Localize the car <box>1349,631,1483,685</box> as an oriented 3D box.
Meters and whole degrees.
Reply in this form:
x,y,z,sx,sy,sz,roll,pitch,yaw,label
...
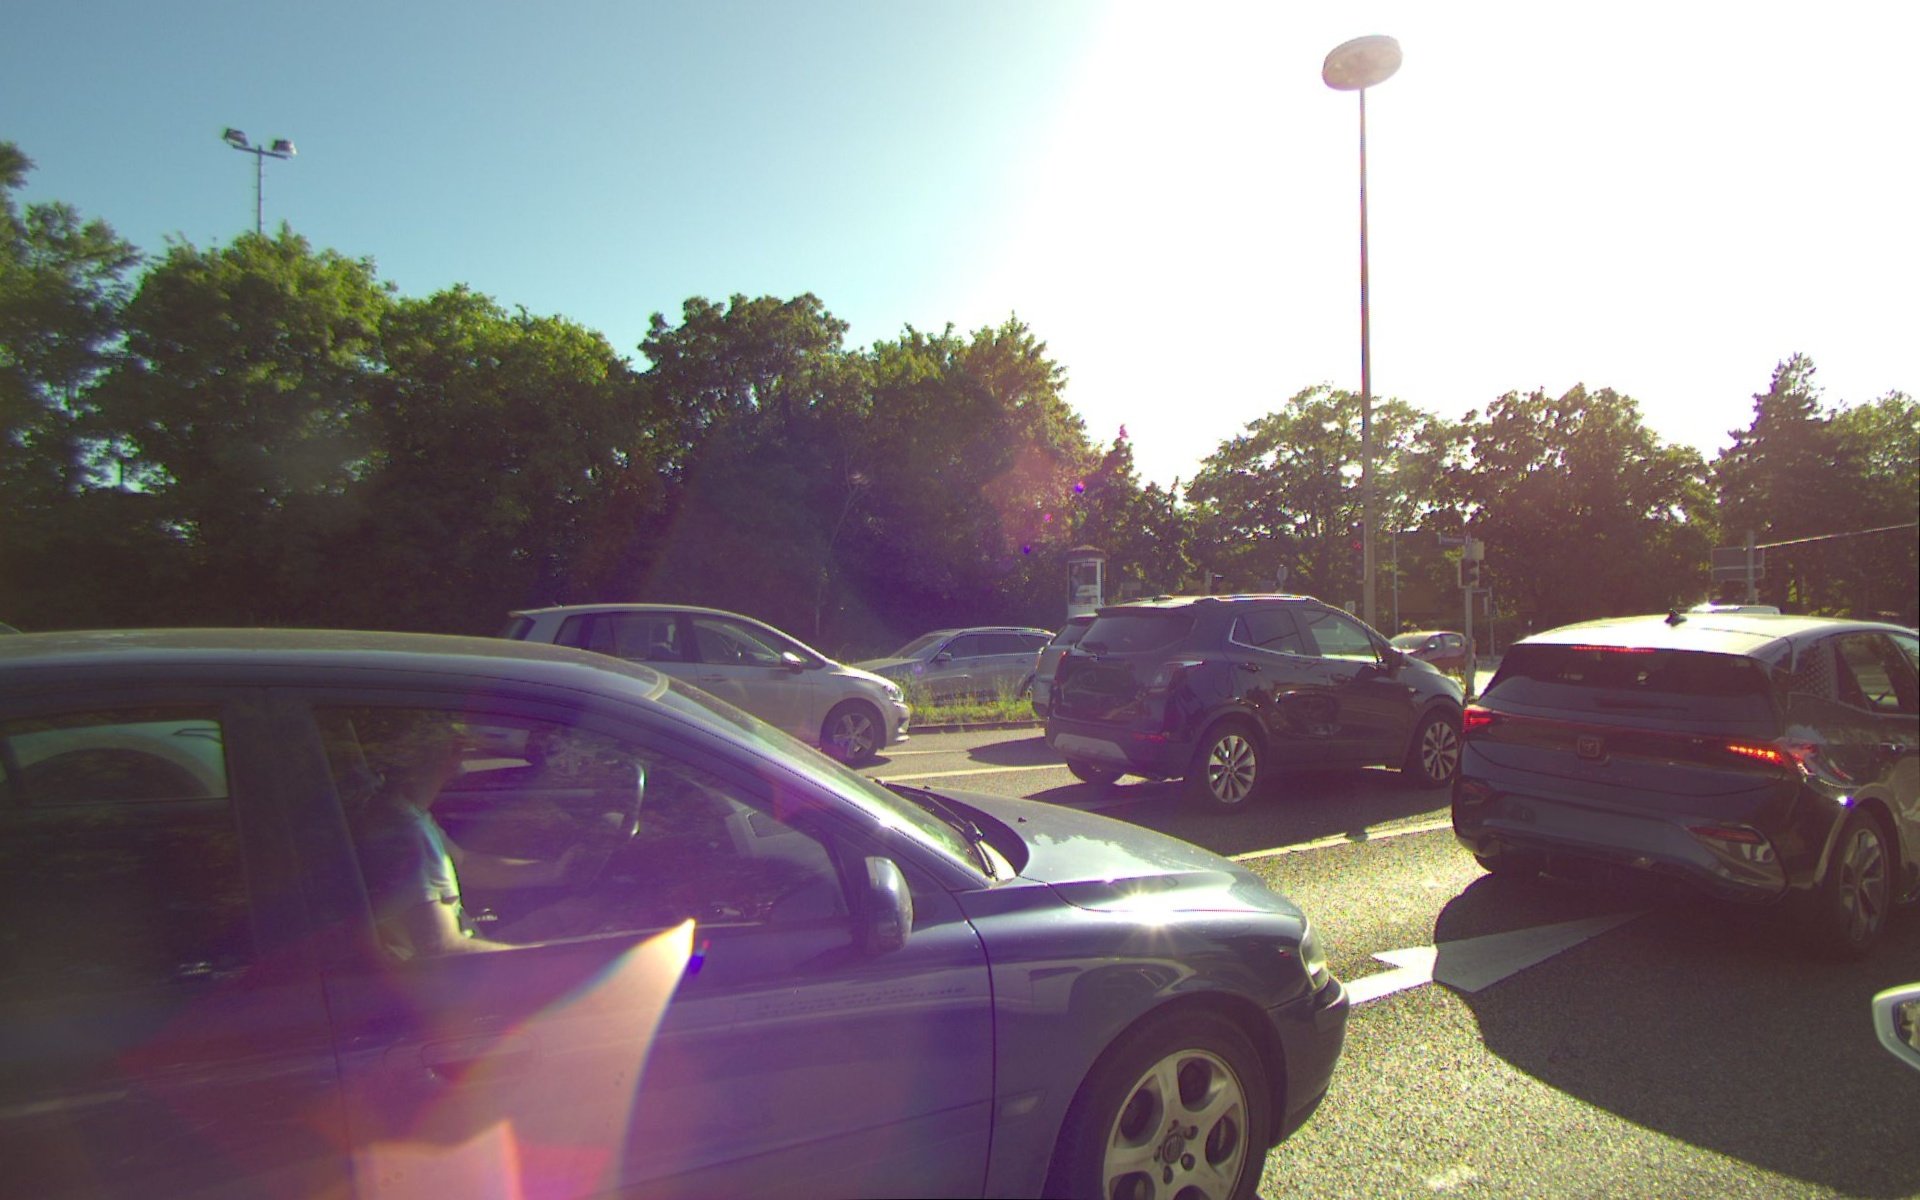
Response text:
x,y,z,sx,sy,sz,roll,pitch,yaw,label
13.662,1.696,30.069,3.956,1.529,1.678,1,-2,-30,car

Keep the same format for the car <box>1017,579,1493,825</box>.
x,y,z,sx,sy,sz,roll,pitch,yaw,label
2.632,0.771,8.794,3.953,1.711,1.796,1,-2,-30,car

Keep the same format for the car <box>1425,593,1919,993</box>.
x,y,z,sx,sy,sz,roll,pitch,yaw,label
4.752,0.829,5.815,4.158,1.601,1.676,2,-1,-30,car

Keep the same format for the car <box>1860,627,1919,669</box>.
x,y,z,sx,sy,sz,roll,pitch,yaw,label
38.357,1.905,40.370,4.561,1.622,1.984,1,-2,-30,car

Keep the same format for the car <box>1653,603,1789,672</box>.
x,y,z,sx,sy,sz,roll,pitch,yaw,label
29.669,1.462,39.097,5.934,2.525,2.090,1,-2,-30,car

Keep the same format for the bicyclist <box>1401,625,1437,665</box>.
x,y,z,sx,sy,sz,roll,pitch,yaw,label
19.212,1.872,42.016,1.187,1.670,0.870,1,-2,-35,bicyclist

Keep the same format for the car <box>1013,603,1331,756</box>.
x,y,z,sx,sy,sz,roll,pitch,yaw,label
2.822,0.954,13.181,3.956,1.724,1.820,1,-2,-32,car

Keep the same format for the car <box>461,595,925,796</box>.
x,y,z,sx,sy,sz,roll,pitch,yaw,label
-2.601,0.836,10.005,4.156,1.632,1.822,1,-2,-30,car

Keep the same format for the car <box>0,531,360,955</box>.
x,y,z,sx,sy,sz,roll,pitch,yaw,label
-5.268,0.597,4.490,4.373,1.732,1.984,1,-2,-30,car

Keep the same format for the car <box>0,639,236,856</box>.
x,y,z,sx,sy,sz,roll,pitch,yaw,label
-7.901,1.001,6.943,4.499,1.448,1.822,1,-2,-30,car

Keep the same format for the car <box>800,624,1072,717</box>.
x,y,z,sx,sy,sz,roll,pitch,yaw,label
-0.358,1.174,17.619,4.561,1.452,1.678,1,-2,-30,car

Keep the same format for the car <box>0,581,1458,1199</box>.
x,y,z,sx,sy,sz,roll,pitch,yaw,label
-1.083,0.726,2.200,4.404,1.471,1.767,2,0,-30,car
